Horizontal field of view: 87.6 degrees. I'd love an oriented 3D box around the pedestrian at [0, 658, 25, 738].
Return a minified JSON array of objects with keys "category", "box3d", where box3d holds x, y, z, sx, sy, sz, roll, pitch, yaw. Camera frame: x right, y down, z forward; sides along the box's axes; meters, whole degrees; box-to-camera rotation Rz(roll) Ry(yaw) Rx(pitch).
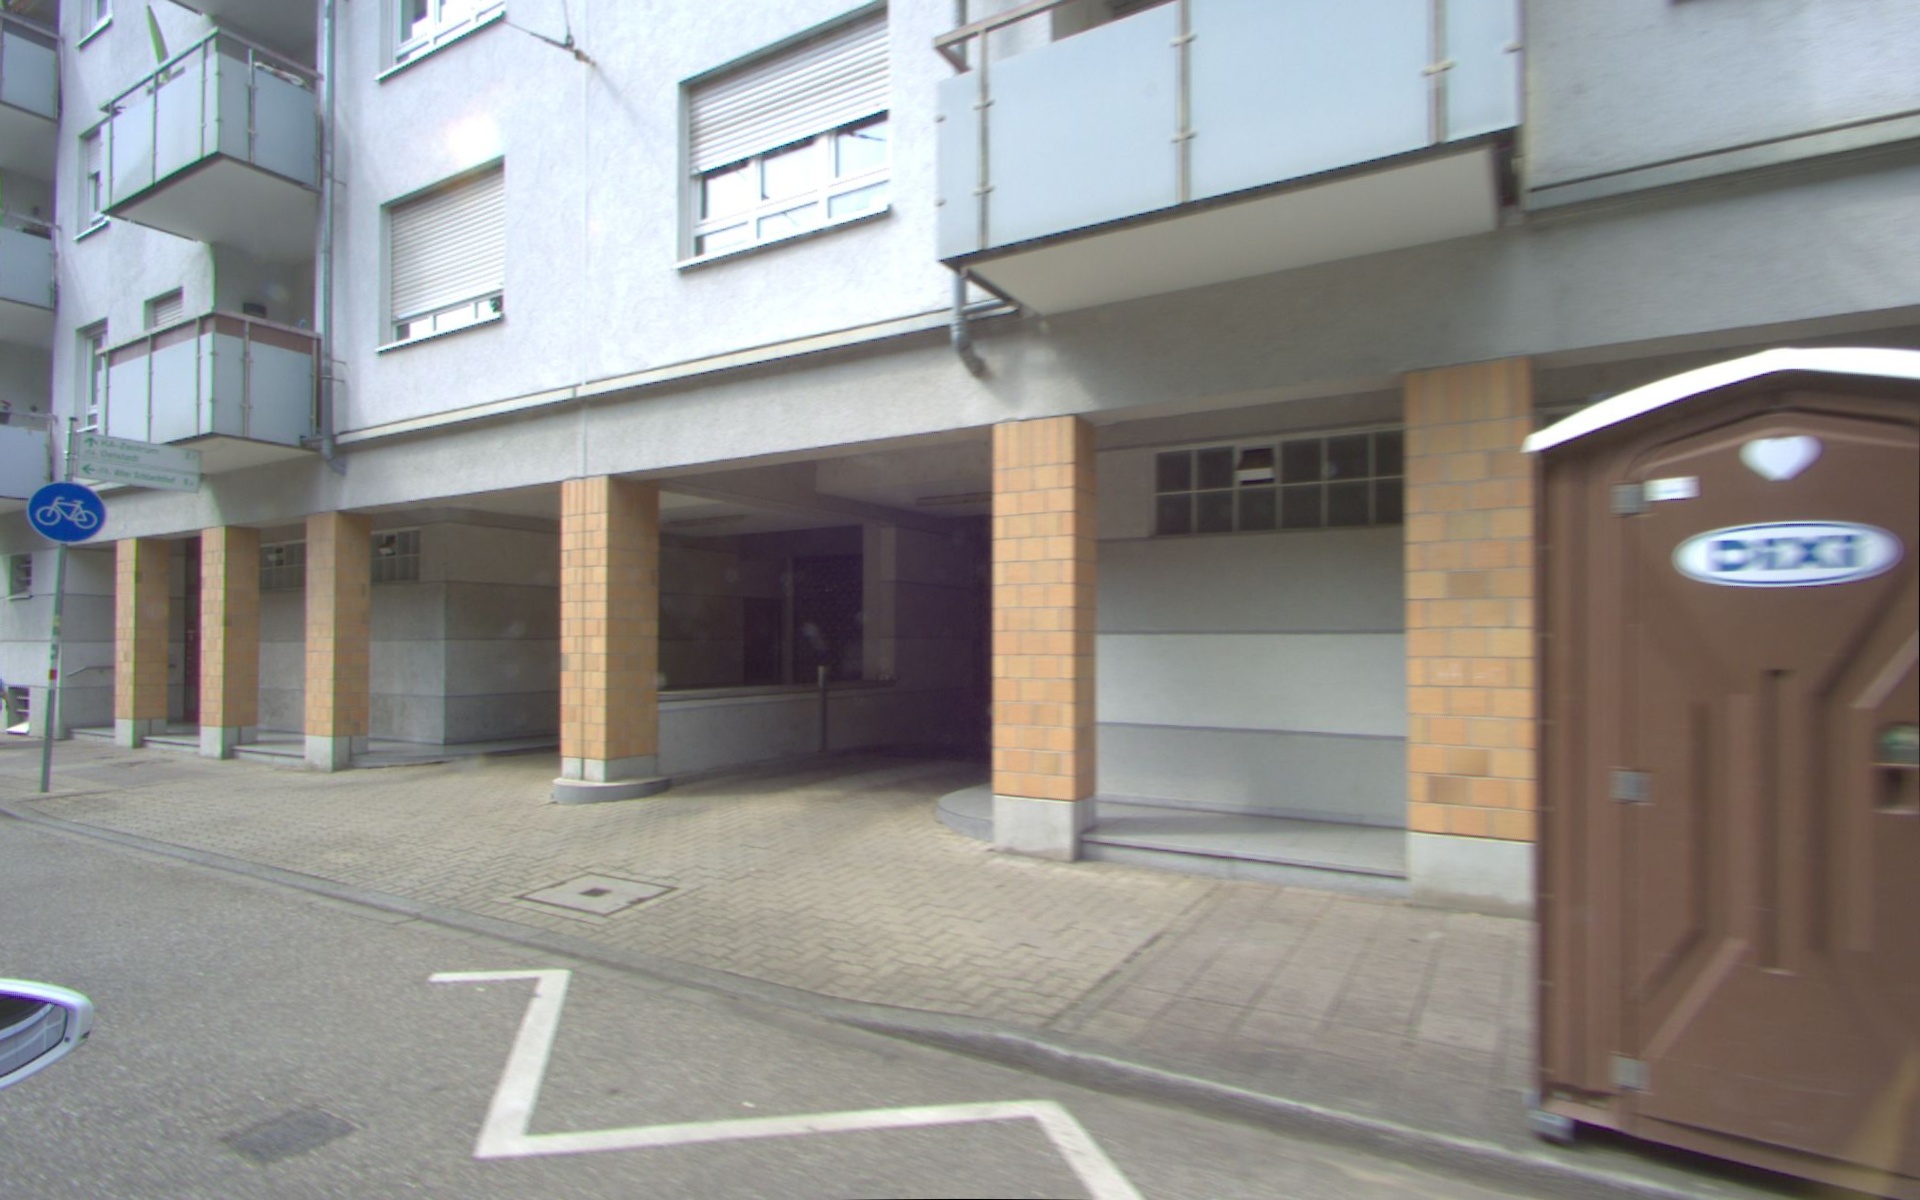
[{"category":"pedestrian","box3d":[-14.064,1.430,14.656,0.487,1.149,0.455,-1,-1,32]}]
